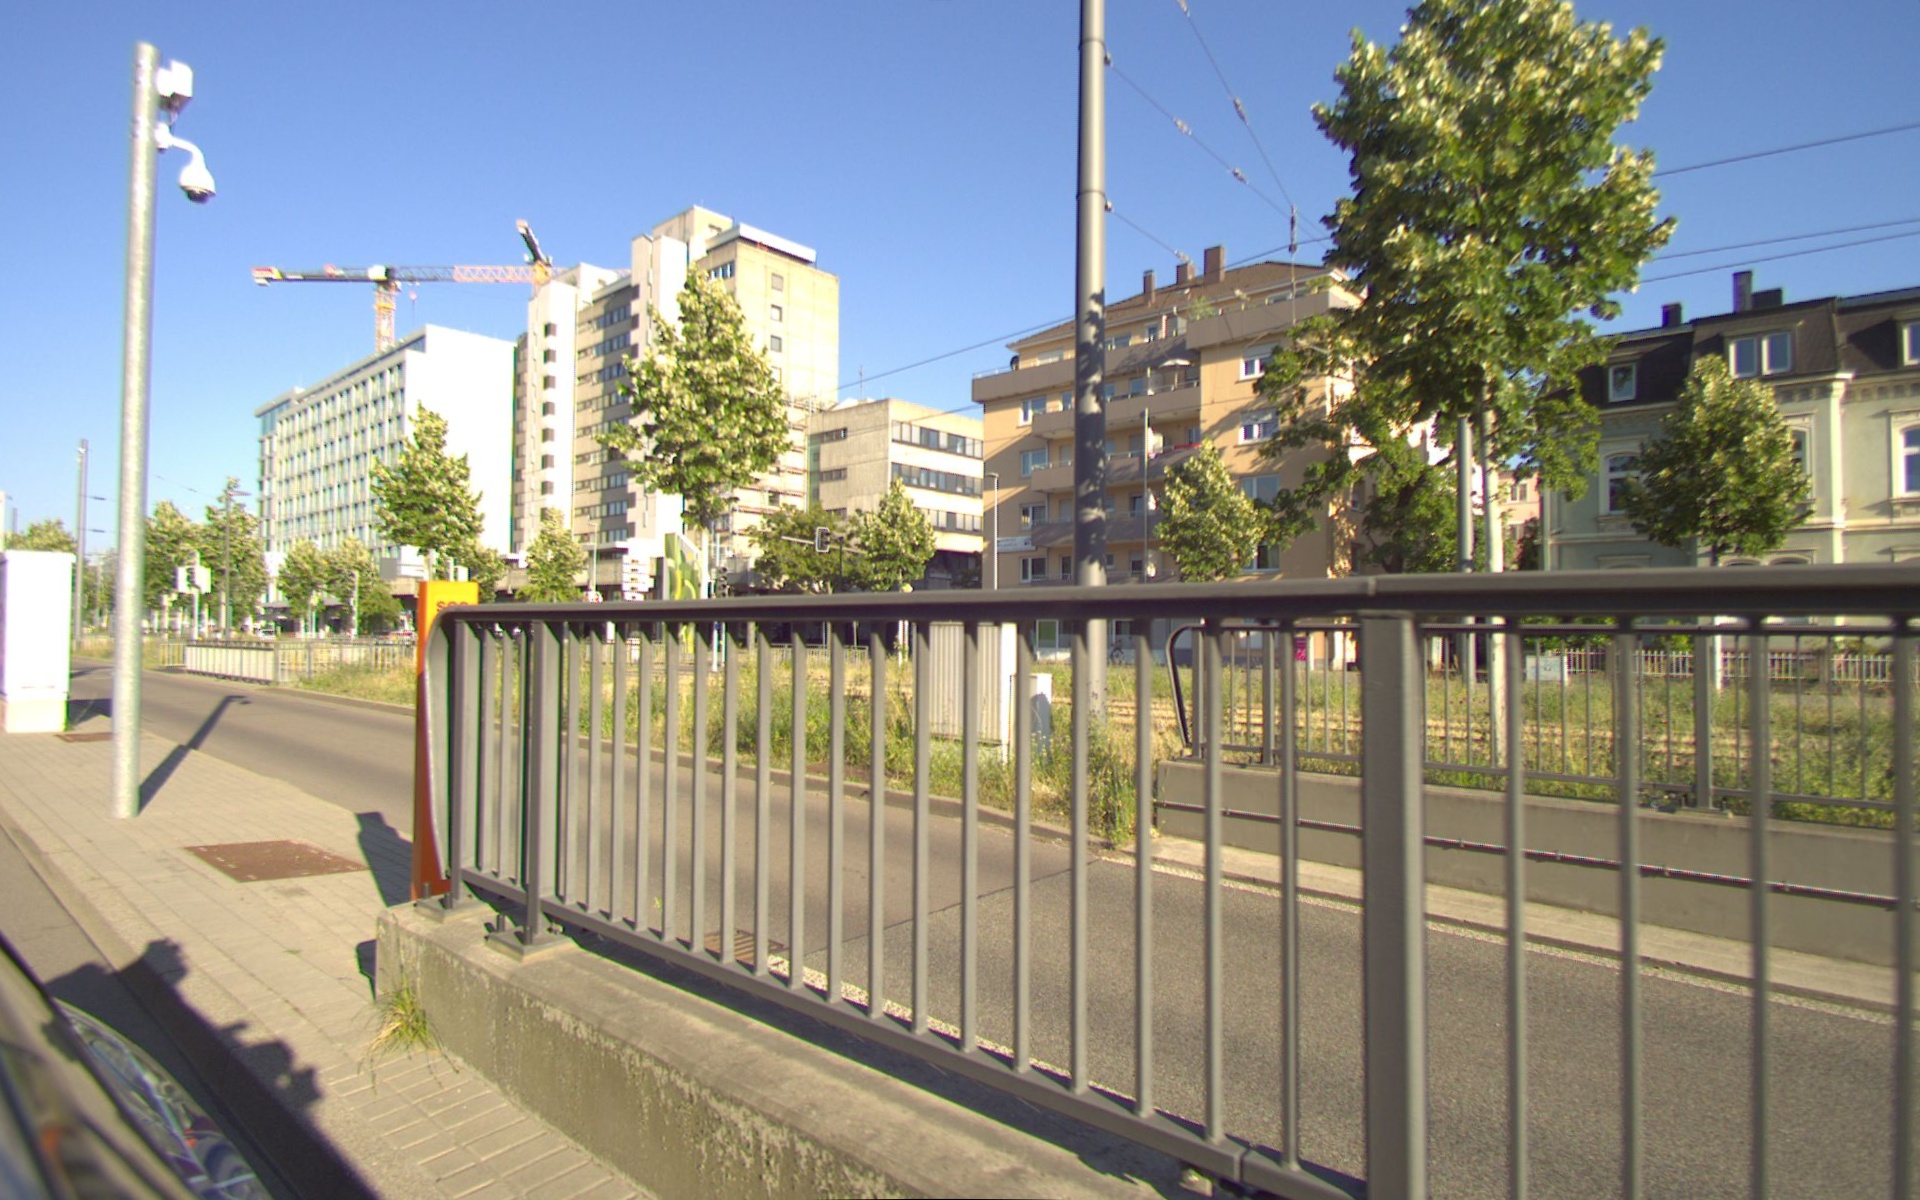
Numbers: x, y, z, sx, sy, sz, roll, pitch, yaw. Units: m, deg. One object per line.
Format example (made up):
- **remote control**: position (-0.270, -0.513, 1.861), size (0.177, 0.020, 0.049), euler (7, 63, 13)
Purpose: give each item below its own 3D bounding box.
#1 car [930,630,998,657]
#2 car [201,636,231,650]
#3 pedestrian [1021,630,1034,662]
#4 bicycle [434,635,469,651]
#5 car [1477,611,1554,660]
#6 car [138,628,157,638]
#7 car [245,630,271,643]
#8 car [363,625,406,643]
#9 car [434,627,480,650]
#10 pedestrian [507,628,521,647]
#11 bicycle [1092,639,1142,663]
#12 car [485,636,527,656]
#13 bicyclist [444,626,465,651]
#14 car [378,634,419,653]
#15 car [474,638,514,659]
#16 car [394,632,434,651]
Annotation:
- **car**: position (0.287, 2.547, 59.146), size (1.846, 1.508, 3.945), euler (-1, -3, 41)
- **car**: position (-82.121, 4.714, 111.693), size (4.660, 1.474, 1.757), euler (-1, -2, 41)
- **pedestrian**: position (3.383, 2.295, 50.704), size (0.520, 1.567, 0.442), euler (-1, -3, 41)
- **bicycle**: position (-29.055, 2.427, 57.832), size (2.015, 0.898, 0.503), euler (0, -2, 19)
- **car**: position (24.537, 1.559, 44.637), size (2.000, 2.062, 3.942), euler (-2, -3, 43)
- **car**: position (-137.825, 5.575, 171.749), size (4.638, 1.600, 1.849), euler (-1, 0, 43)
- **car**: position (-82.779, 4.291, 119.261), size (3.389, 1.477, 1.849), euler (-1, 0, 43)
- **car**: position (-53.117, 3.114, 93.527), size (1.597, 1.455, 4.550), euler (-1, 0, -3)
- **car**: position (-40.970, 3.138, 82.535), size (1.599, 1.703, 4.195), euler (-1, 0, 1)
- **pedestrian**: position (-38.613, 3.226, 87.658), size (0.882, 1.652, 0.766), euler (-1, -3, 41)
- **bicycle**: position (7.652, 2.477, 49.434), size (2.585, 1.145, 0.525), euler (-2, -3, 42)
- **car**: position (-32.982, 3.319, 73.602), size (1.598, 1.283, 3.467), euler (-1, 0, -2)
- **bicyclist**: position (-28.798, 2.173, 57.663), size (0.710, 1.405, 0.732), euler (0, -2, 18)
- **car**: position (-50.589, 3.906, 91.261), size (1.763, 1.455, 3.804), euler (-1, 0, -3)
- **car**: position (-36.037, 3.742, 78.287), size (1.598, 1.413, 3.467), euler (-1, 0, -2)
- **car**: position (-48.191, 3.664, 89.428), size (1.598, 1.455, 3.794), euler (-1, 0, -1)
